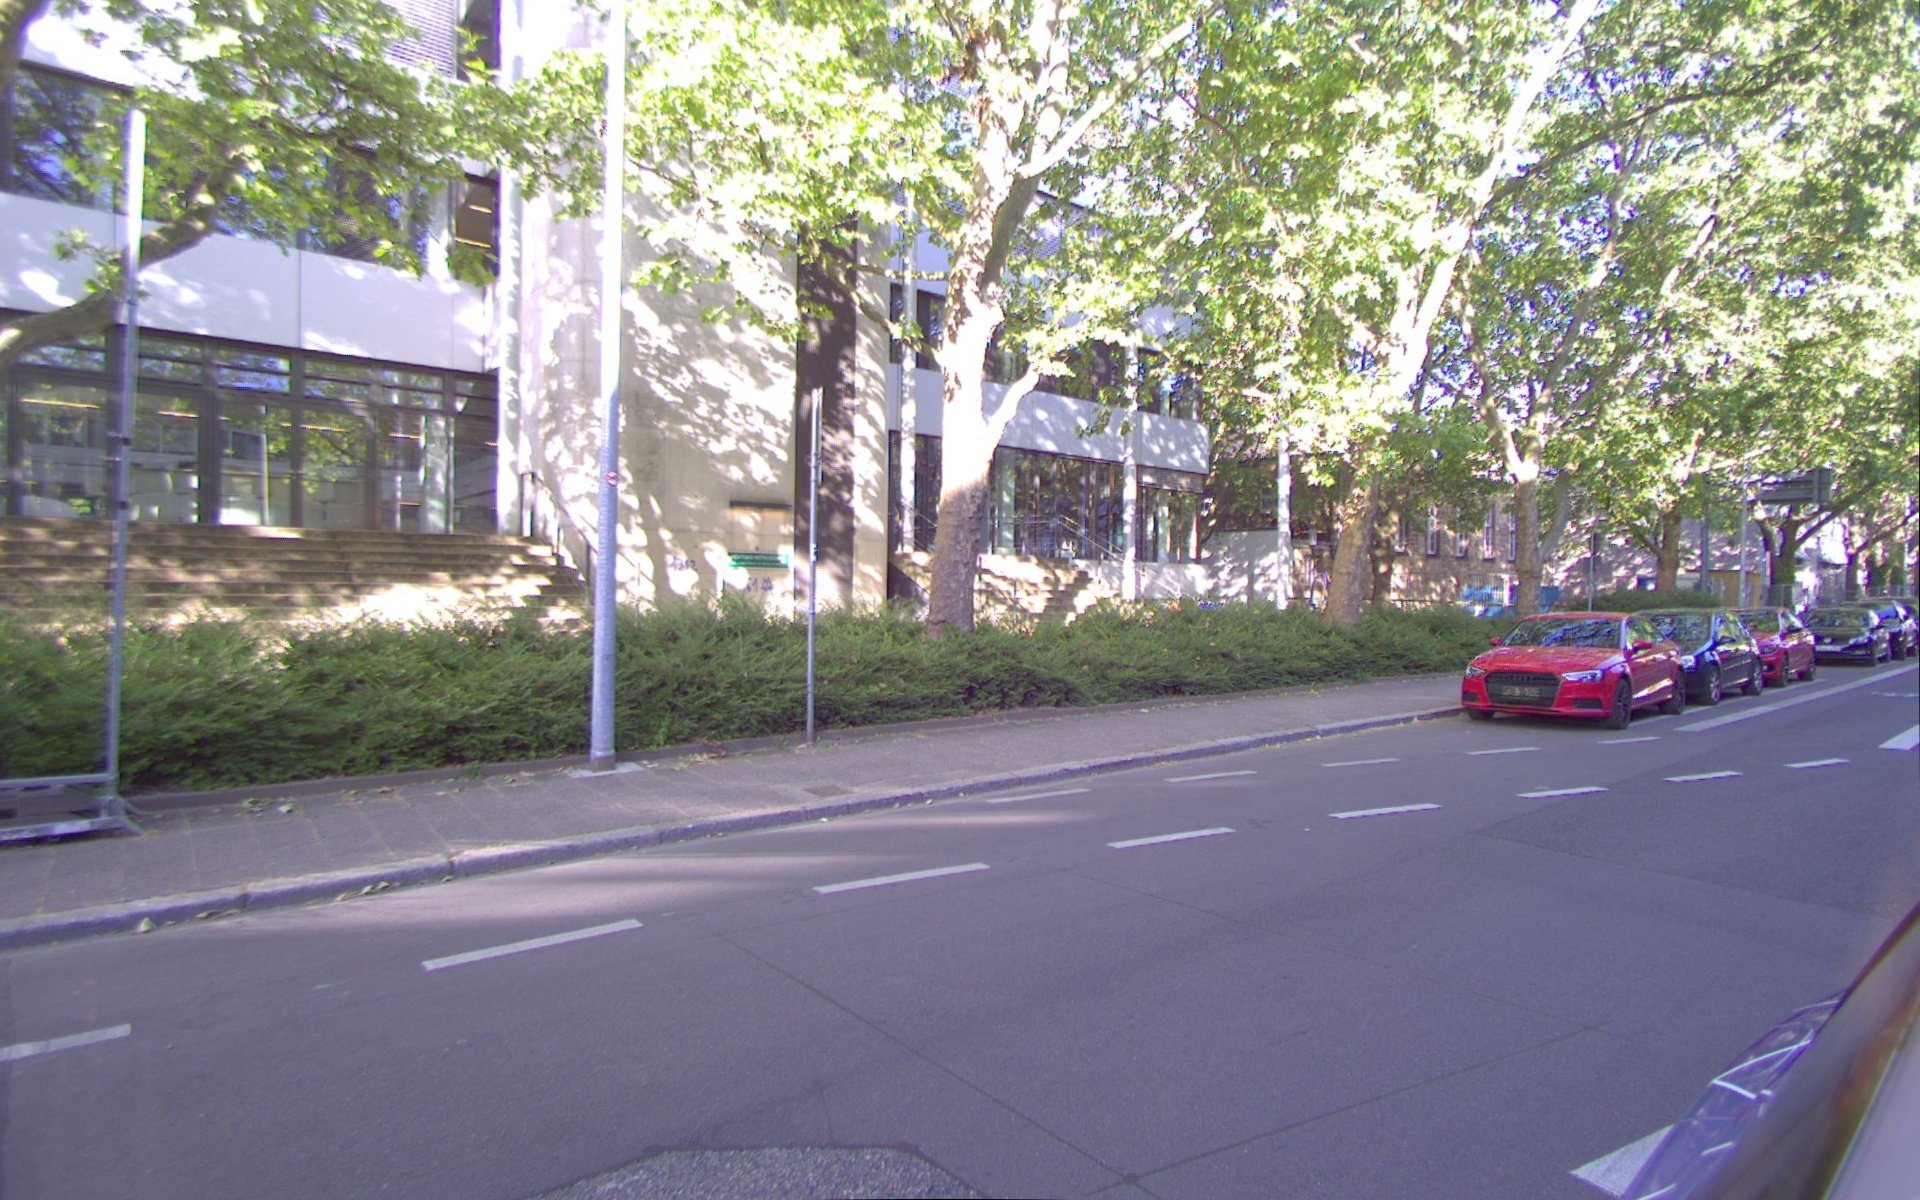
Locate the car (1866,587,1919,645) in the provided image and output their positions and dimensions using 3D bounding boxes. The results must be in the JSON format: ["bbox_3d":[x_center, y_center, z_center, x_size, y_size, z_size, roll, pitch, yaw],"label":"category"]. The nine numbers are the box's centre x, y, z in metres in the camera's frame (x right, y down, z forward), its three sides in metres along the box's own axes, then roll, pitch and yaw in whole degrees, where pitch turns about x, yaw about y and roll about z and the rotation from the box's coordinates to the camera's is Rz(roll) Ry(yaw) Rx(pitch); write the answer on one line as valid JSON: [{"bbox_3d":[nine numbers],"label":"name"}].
[{"bbox_3d":[31.048,0.490,33.006,4.271,1.777,1.788,0,-1,-42],"label":"car"}]

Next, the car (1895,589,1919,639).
[{"bbox_3d":[35.901,0.485,37.242,4.475,1.777,1.788,0,-1,-42],"label":"car"}]

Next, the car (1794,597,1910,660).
[{"bbox_3d":[23.042,0.681,26.092,4.092,1.478,1.788,0,-1,-42],"label":"car"}]

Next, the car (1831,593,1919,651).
[{"bbox_3d":[26.587,0.590,29.124,4.092,1.573,1.788,0,-1,-42],"label":"car"}]

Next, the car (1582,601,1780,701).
[{"bbox_3d":[11.944,0.739,16.678,4.092,1.431,1.815,0,-1,-42],"label":"car"}]

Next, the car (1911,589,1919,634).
[{"bbox_3d":[39.619,0.440,40.392,4.475,1.777,2.040,0,-1,-42],"label":"car"}]

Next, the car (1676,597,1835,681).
[{"bbox_3d":[15.850,0.702,20.099,4.092,1.502,1.815,0,-1,-42],"label":"car"}]

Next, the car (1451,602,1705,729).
[{"bbox_3d":[8.350,0.754,13.539,4.092,1.431,1.815,0,-1,-42],"label":"car"}]
